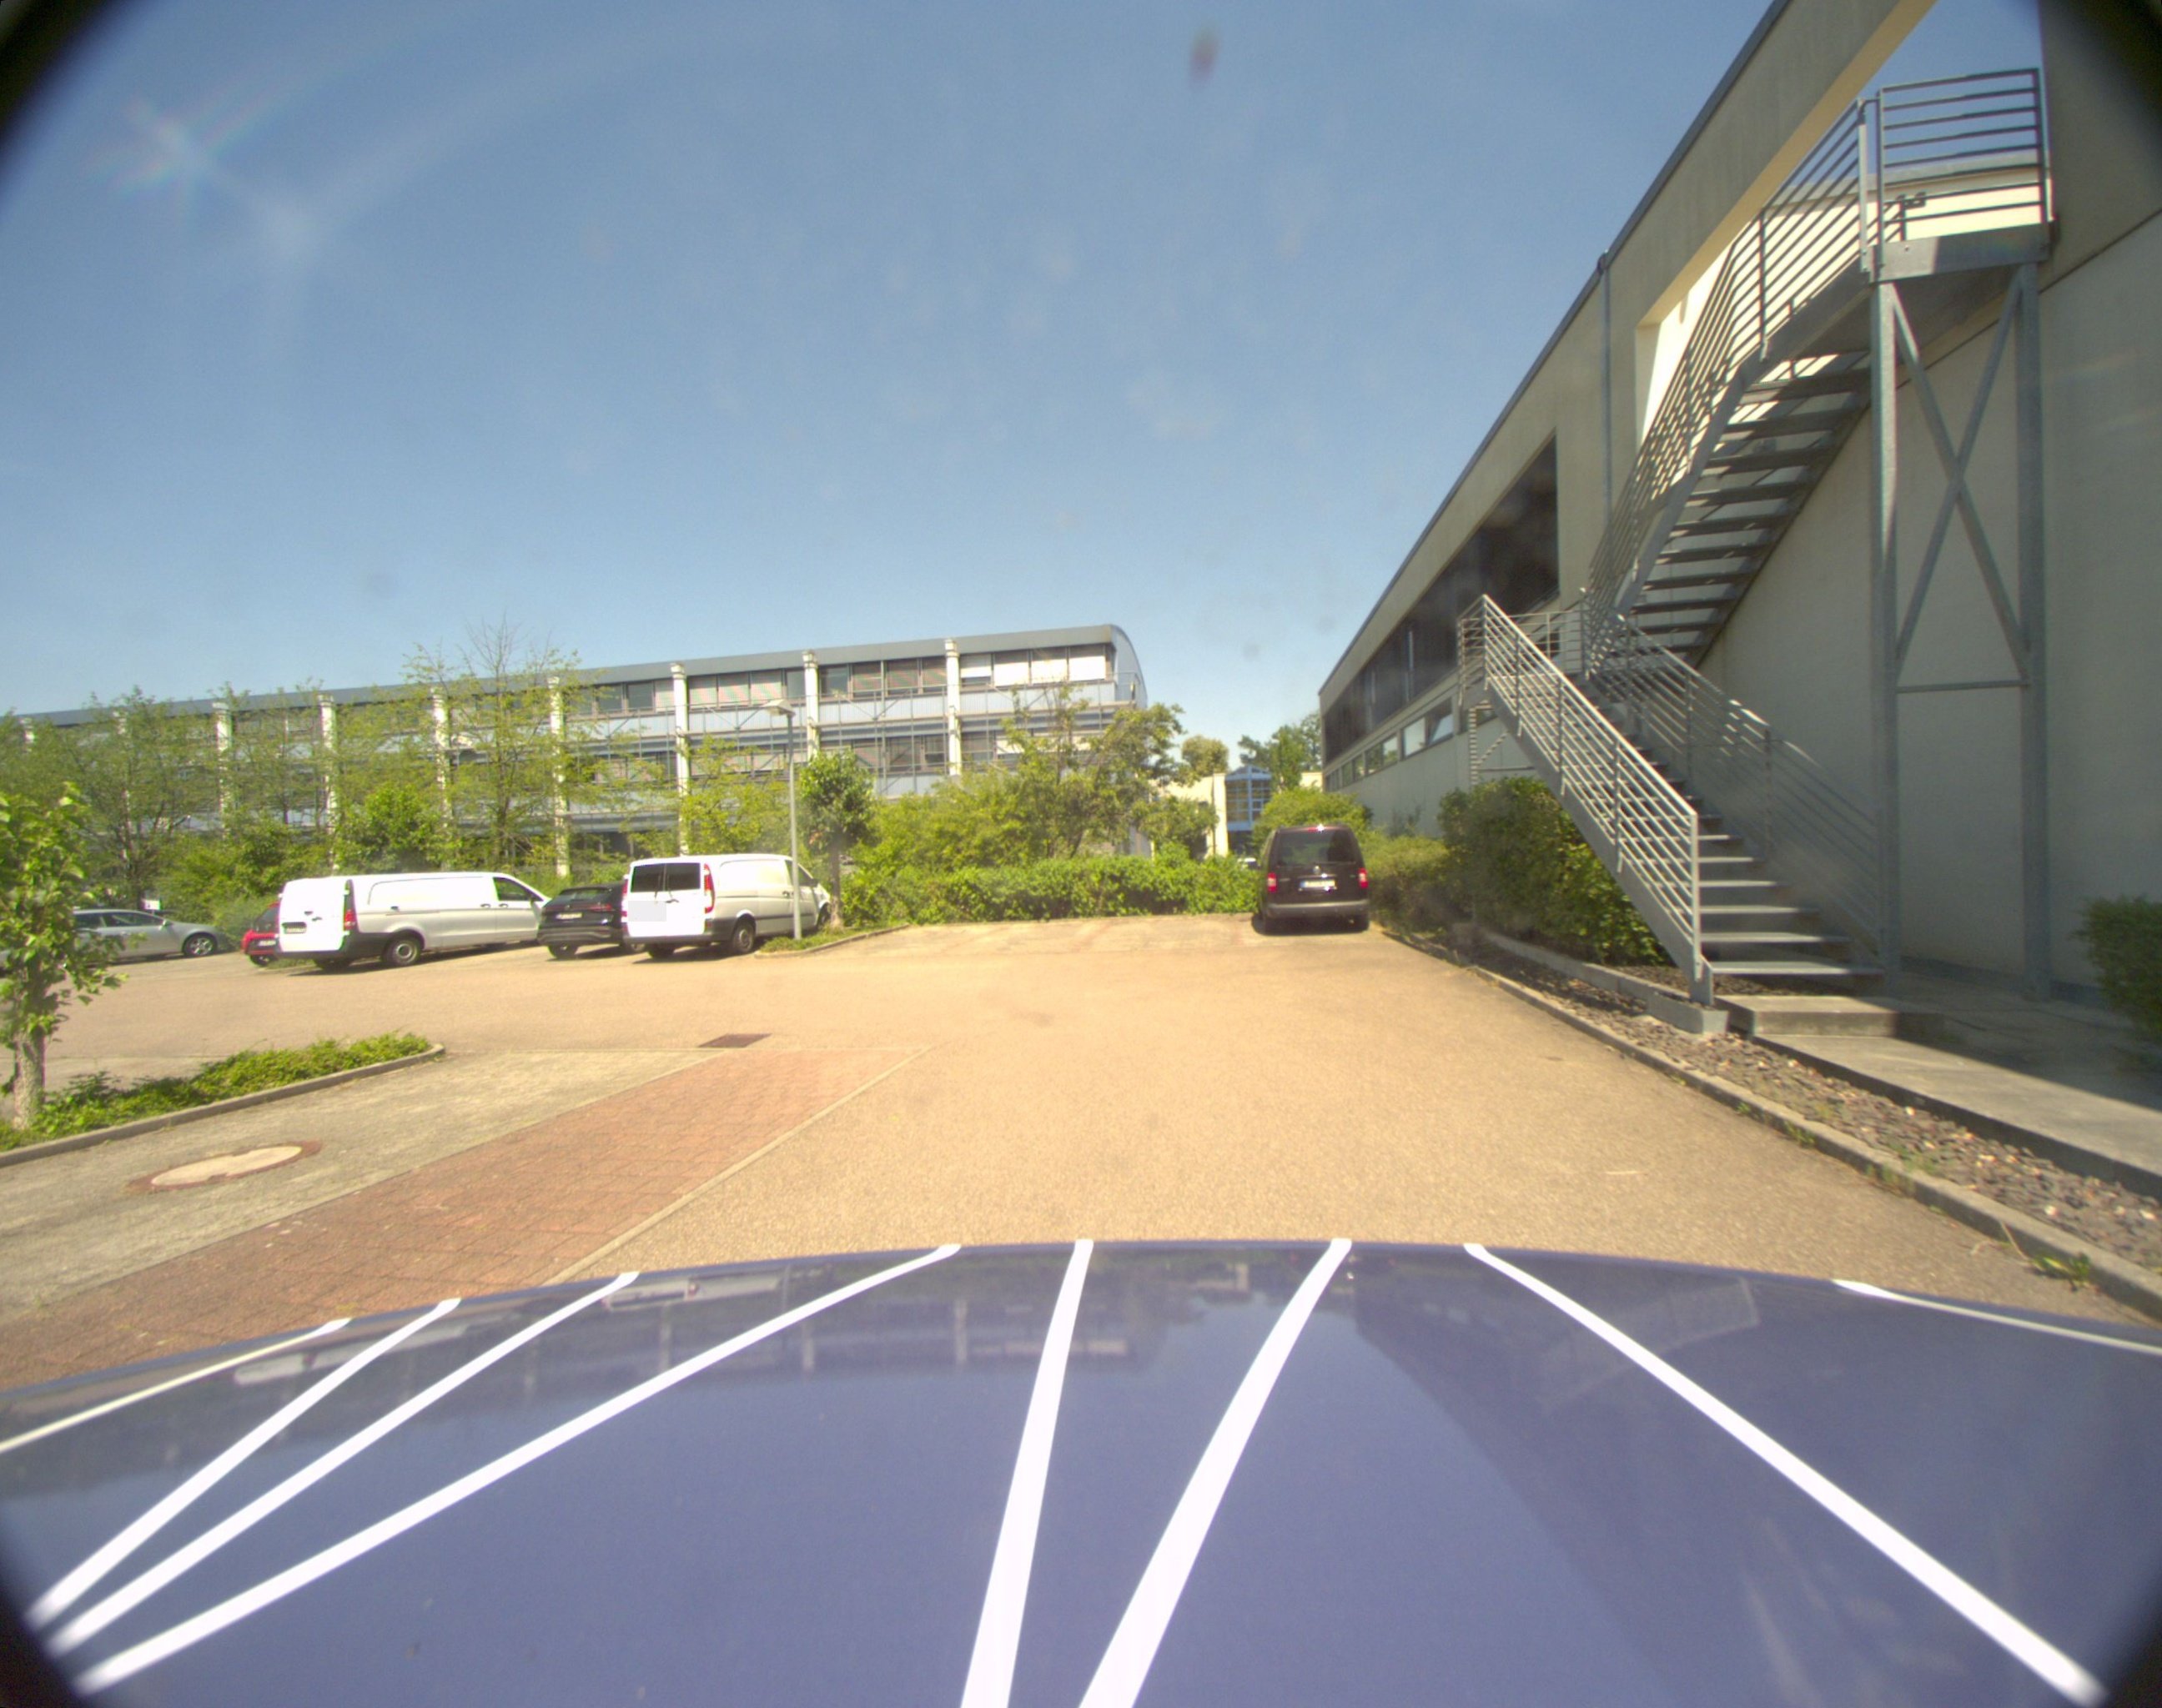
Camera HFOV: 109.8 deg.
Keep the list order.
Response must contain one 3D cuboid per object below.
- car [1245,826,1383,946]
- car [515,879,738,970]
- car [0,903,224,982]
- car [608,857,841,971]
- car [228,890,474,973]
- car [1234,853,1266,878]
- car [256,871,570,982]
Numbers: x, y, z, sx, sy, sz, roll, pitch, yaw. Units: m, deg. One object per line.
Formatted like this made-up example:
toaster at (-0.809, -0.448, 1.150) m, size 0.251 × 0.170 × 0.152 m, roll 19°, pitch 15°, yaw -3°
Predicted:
car at (4.167, 0.495, 14.245) m, size 1.866 × 1.849 × 4.231 m, roll -3°, pitch 0°, yaw 10°
car at (-9.510, 1.397, 16.369) m, size 1.737 × 1.475 × 4.200 m, roll -3°, pitch 0°, yaw 10°
car at (-24.836, 2.153, 19.029) m, size 1.737 × 1.475 × 4.088 m, roll -3°, pitch 0°, yaw 13°
car at (-6.928, 1.063, 15.466) m, size 1.866 × 1.849 × 4.680 m, roll -3°, pitch 0°, yaw 10°
car at (-17.152, 1.754, 18.145) m, size 1.622 × 1.479 × 3.924 m, roll -3°, pitch 0°, yaw 12°
car at (12.475, 0.832, 56.218) m, size 1.835 × 1.558 × 4.001 m, roll -2°, pitch 2°, yaw 7°
car at (-14.126, 1.425, 16.600) m, size 1.854 × 1.845 × 4.939 m, roll -3°, pitch 0°, yaw 12°
